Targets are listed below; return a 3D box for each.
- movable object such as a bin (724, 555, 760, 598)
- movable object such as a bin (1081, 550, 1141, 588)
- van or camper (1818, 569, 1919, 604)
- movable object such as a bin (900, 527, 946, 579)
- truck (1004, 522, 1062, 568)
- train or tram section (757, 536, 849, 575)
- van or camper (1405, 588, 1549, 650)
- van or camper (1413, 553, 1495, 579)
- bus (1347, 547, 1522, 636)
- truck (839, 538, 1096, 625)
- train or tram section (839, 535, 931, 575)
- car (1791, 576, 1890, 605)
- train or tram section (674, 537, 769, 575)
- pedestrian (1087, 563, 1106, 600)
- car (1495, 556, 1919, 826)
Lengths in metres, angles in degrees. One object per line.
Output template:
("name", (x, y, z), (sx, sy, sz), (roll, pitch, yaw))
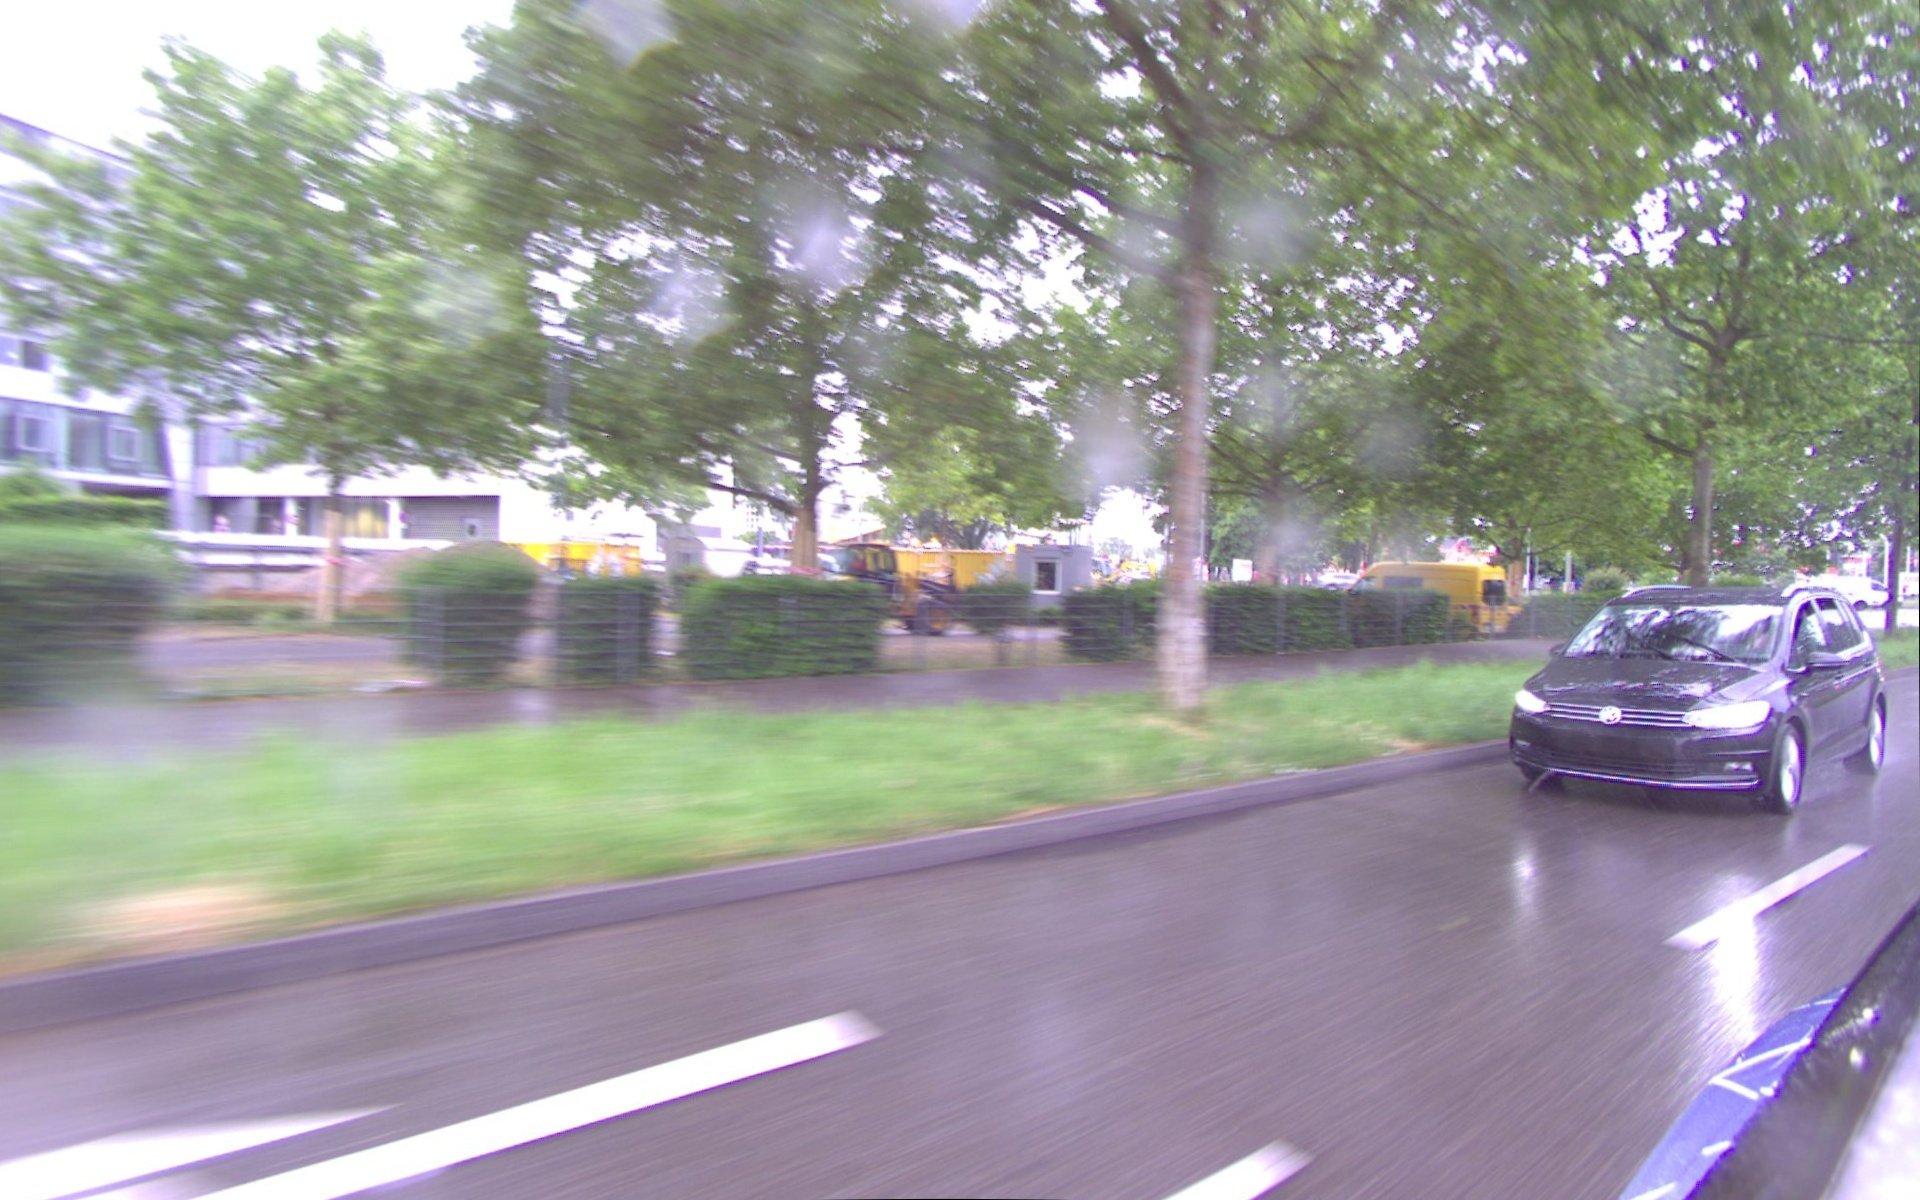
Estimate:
("movable object such as a bin", (-12.528, -1.349, 58.166), (1.434, 2.384, 1.398), (2, 2, 31))
("movable object such as a bin", (9.652, -1.994, 64.728), (3.255, 2.384, 1.992), (2, 2, 31))
("van or camper", (61.151, -0.929, 68.018), (4.839, 2.114, 1.860), (2, 2, 16))
("movable object such as a bin", (-2.694, -3.444, 74.656), (3.256, 3.670, 3.615), (1, 2, -1))
("truck", (5.984, -4.307, 81.292), (2.463, 3.386, 9.418), (0, 2, 18))
("train or tram section", (-15.007, -4.222, 96.768), (8.410, 3.563, 2.389), (0, 1, 16))
("van or camper", (17.531, 0.593, 34.446), (1.770, 1.931, 3.995), (0, 1, -40))
("van or camper", (62.235, -4.237, 127.680), (8.862, 3.196, 2.970), (0, 1, 19))
("bus", (15.247, -0.314, 32.784), (1.962, 2.680, 4.809), (0, 1, -35))
("truck", (0.292, -0.681, 38.651), (9.376, 3.069, 3.064), (0, 1, 19))
("train or tram section", (-7.003, -4.179, 94.469), (8.252, 3.563, 2.389), (0, 1, 16))
("car", (57.196, -0.635, 65.806), (4.398, 1.693, 1.860), (2, 2, 16))
("train or tram section", (-23.387, -4.254, 99.157), (8.983, 3.563, 2.389), (0, 1, 16))
("pedestrian", (8.099, -1.093, 59.954), (0.932, 2.136, 0.898), (1, 2, 21))
("car", (6.442, 0.565, 8.549), (4.113, 1.748, 1.861), (0, 1, -38))
